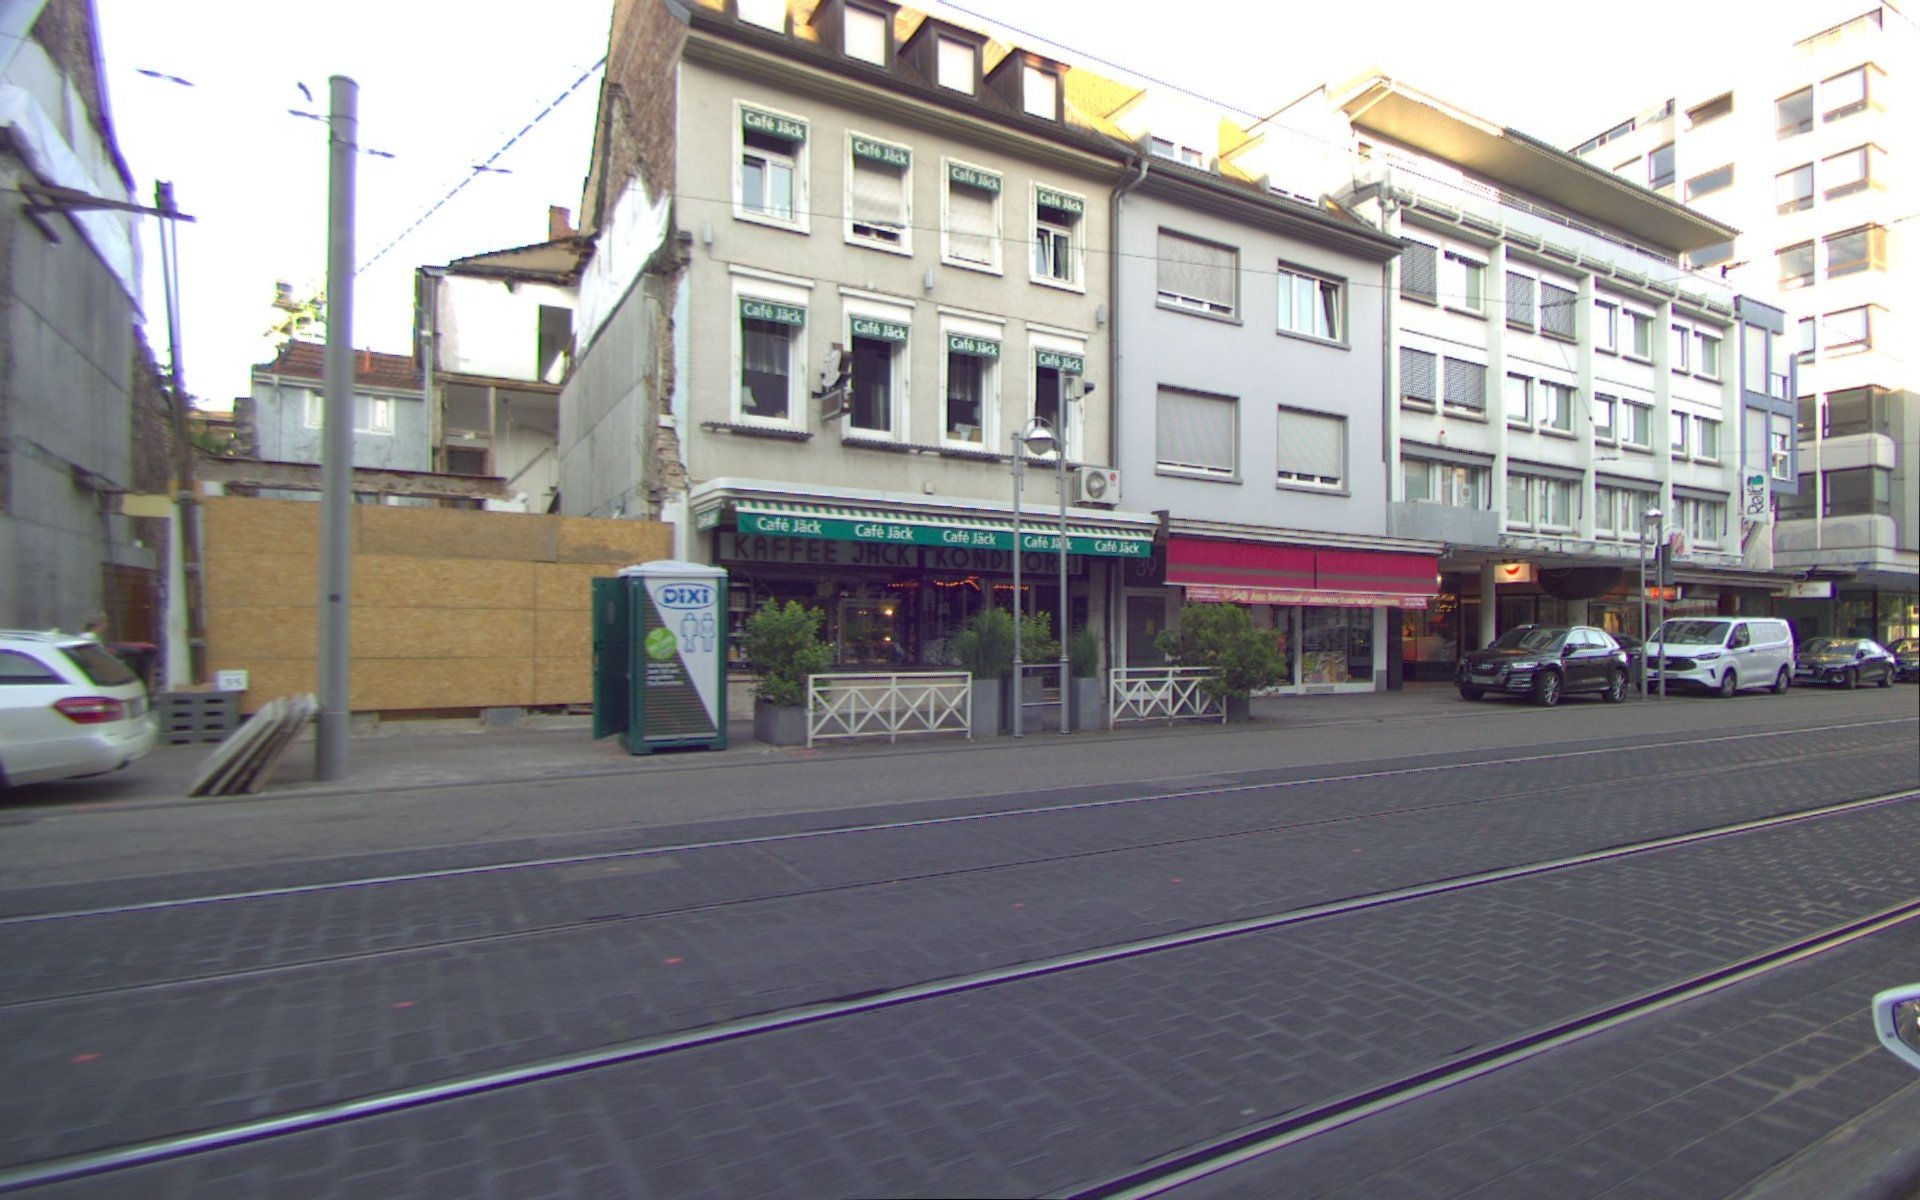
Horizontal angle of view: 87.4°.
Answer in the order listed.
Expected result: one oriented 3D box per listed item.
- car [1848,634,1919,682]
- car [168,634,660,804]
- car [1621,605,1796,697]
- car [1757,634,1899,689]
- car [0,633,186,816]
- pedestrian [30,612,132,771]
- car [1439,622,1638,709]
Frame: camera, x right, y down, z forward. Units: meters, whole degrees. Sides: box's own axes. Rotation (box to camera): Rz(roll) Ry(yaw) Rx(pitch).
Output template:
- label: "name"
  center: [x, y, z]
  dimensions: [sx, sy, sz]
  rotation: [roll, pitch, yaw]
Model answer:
- label: "car"
  center: [31.323, 1.876, 33.051]
  dimensions: [4.196, 1.454, 1.919]
  rotation: [1, -1, -30]
- label: "car"
  center: [-5.641, 1.125, 10.863]
  dimensions: [4.277, 1.472, 1.985]
  rotation: [1, -1, -29]
- label: "car"
  center: [19.383, 1.281, 25.972]
  dimensions: [4.855, 2.185, 1.983]
  rotation: [1, -2, -32]
- label: "car"
  center: [25.656, 1.768, 29.667]
  dimensions: [4.196, 1.454, 1.919]
  rotation: [1, -1, -30]
- label: "car"
  center: [-9.710, 1.030, 8.464]
  dimensions: [4.763, 1.472, 1.985]
  rotation: [1, -1, -29]
- label: "pedestrian"
  center: [-9.622, 0.971, 11.020]
  dimensions: [0.686, 1.666, 0.659]
  rotation: [1, -1, -30]
- label: "car"
  center: [12.751, 1.375, 22.073]
  dimensions: [4.411, 1.700, 1.851]
  rotation: [1, 0, -30]
